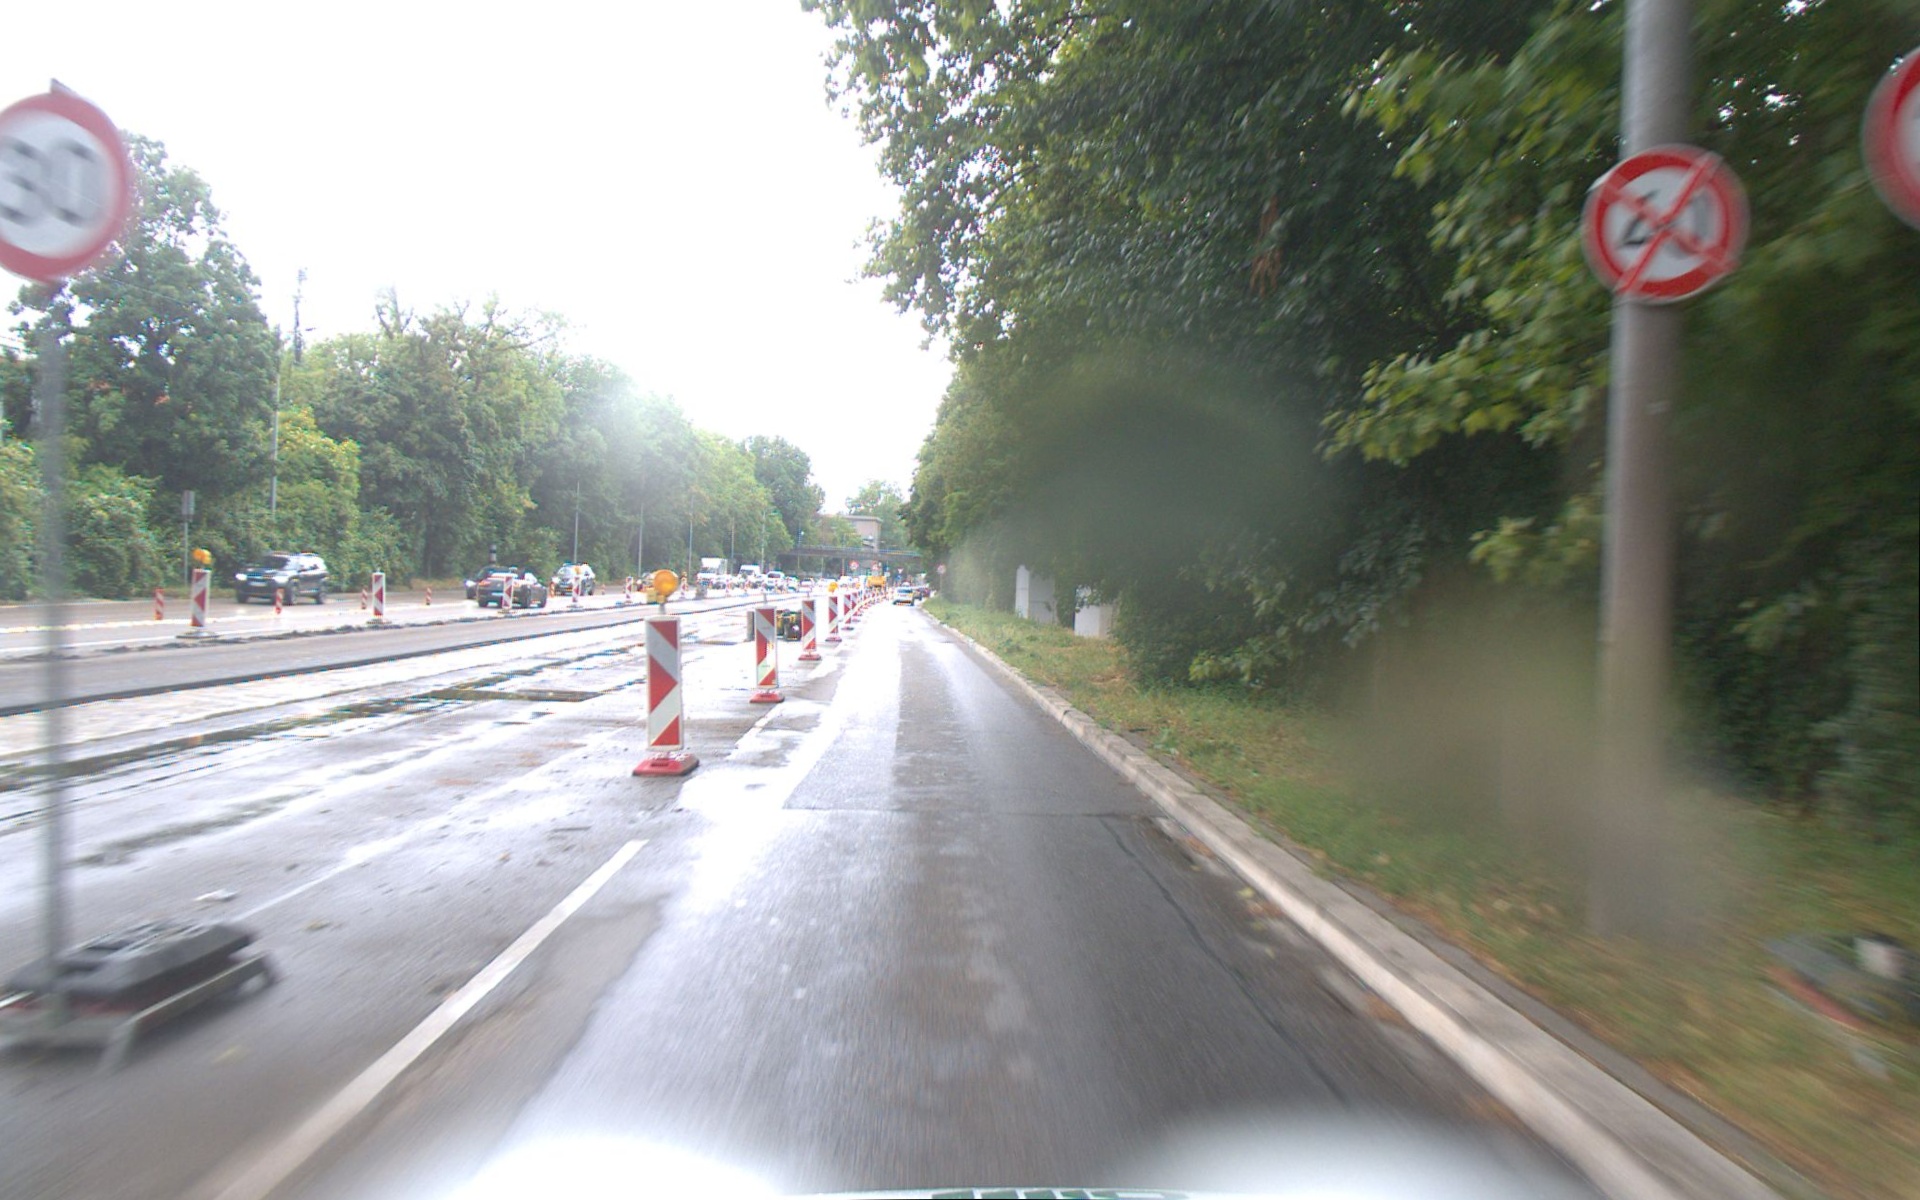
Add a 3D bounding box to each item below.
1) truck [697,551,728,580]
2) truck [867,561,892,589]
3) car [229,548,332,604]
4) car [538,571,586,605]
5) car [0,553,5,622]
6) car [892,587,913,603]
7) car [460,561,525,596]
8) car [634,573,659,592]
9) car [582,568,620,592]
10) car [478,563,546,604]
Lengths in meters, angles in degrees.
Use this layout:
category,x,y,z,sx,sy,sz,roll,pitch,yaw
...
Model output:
category,x,y,z,sx,sy,sz,roll,pitch,yaw
truck,-26.066,-3.627,174.331,2.200,2.991,6.934,2,1,-1
truck,-10.849,-3.433,224.718,3.194,3.558,13.865,2,1,-2
car,-22.312,-0.785,54.515,1.620,1.714,4.531,2,1,-2
car,-21.968,-0.663,91.383,1.700,1.752,4.491,2,1,-3
car,-21.083,-0.265,32.753,1.781,1.444,4.601,2,1,-2
car,-4.811,-0.418,138.888,1.663,1.359,3.490,0,1,-1
car,-21.064,-0.974,74.737,1.725,1.509,4.898,2,1,-3
car,-23.100,-1.324,121.966,1.419,1.355,3.857,2,1,-5
car,-23.934,-1.320,110.381,1.725,1.509,4.898,2,1,-3
car,-16.842,-0.631,62.333,1.575,1.429,4.039,2,1,-2
